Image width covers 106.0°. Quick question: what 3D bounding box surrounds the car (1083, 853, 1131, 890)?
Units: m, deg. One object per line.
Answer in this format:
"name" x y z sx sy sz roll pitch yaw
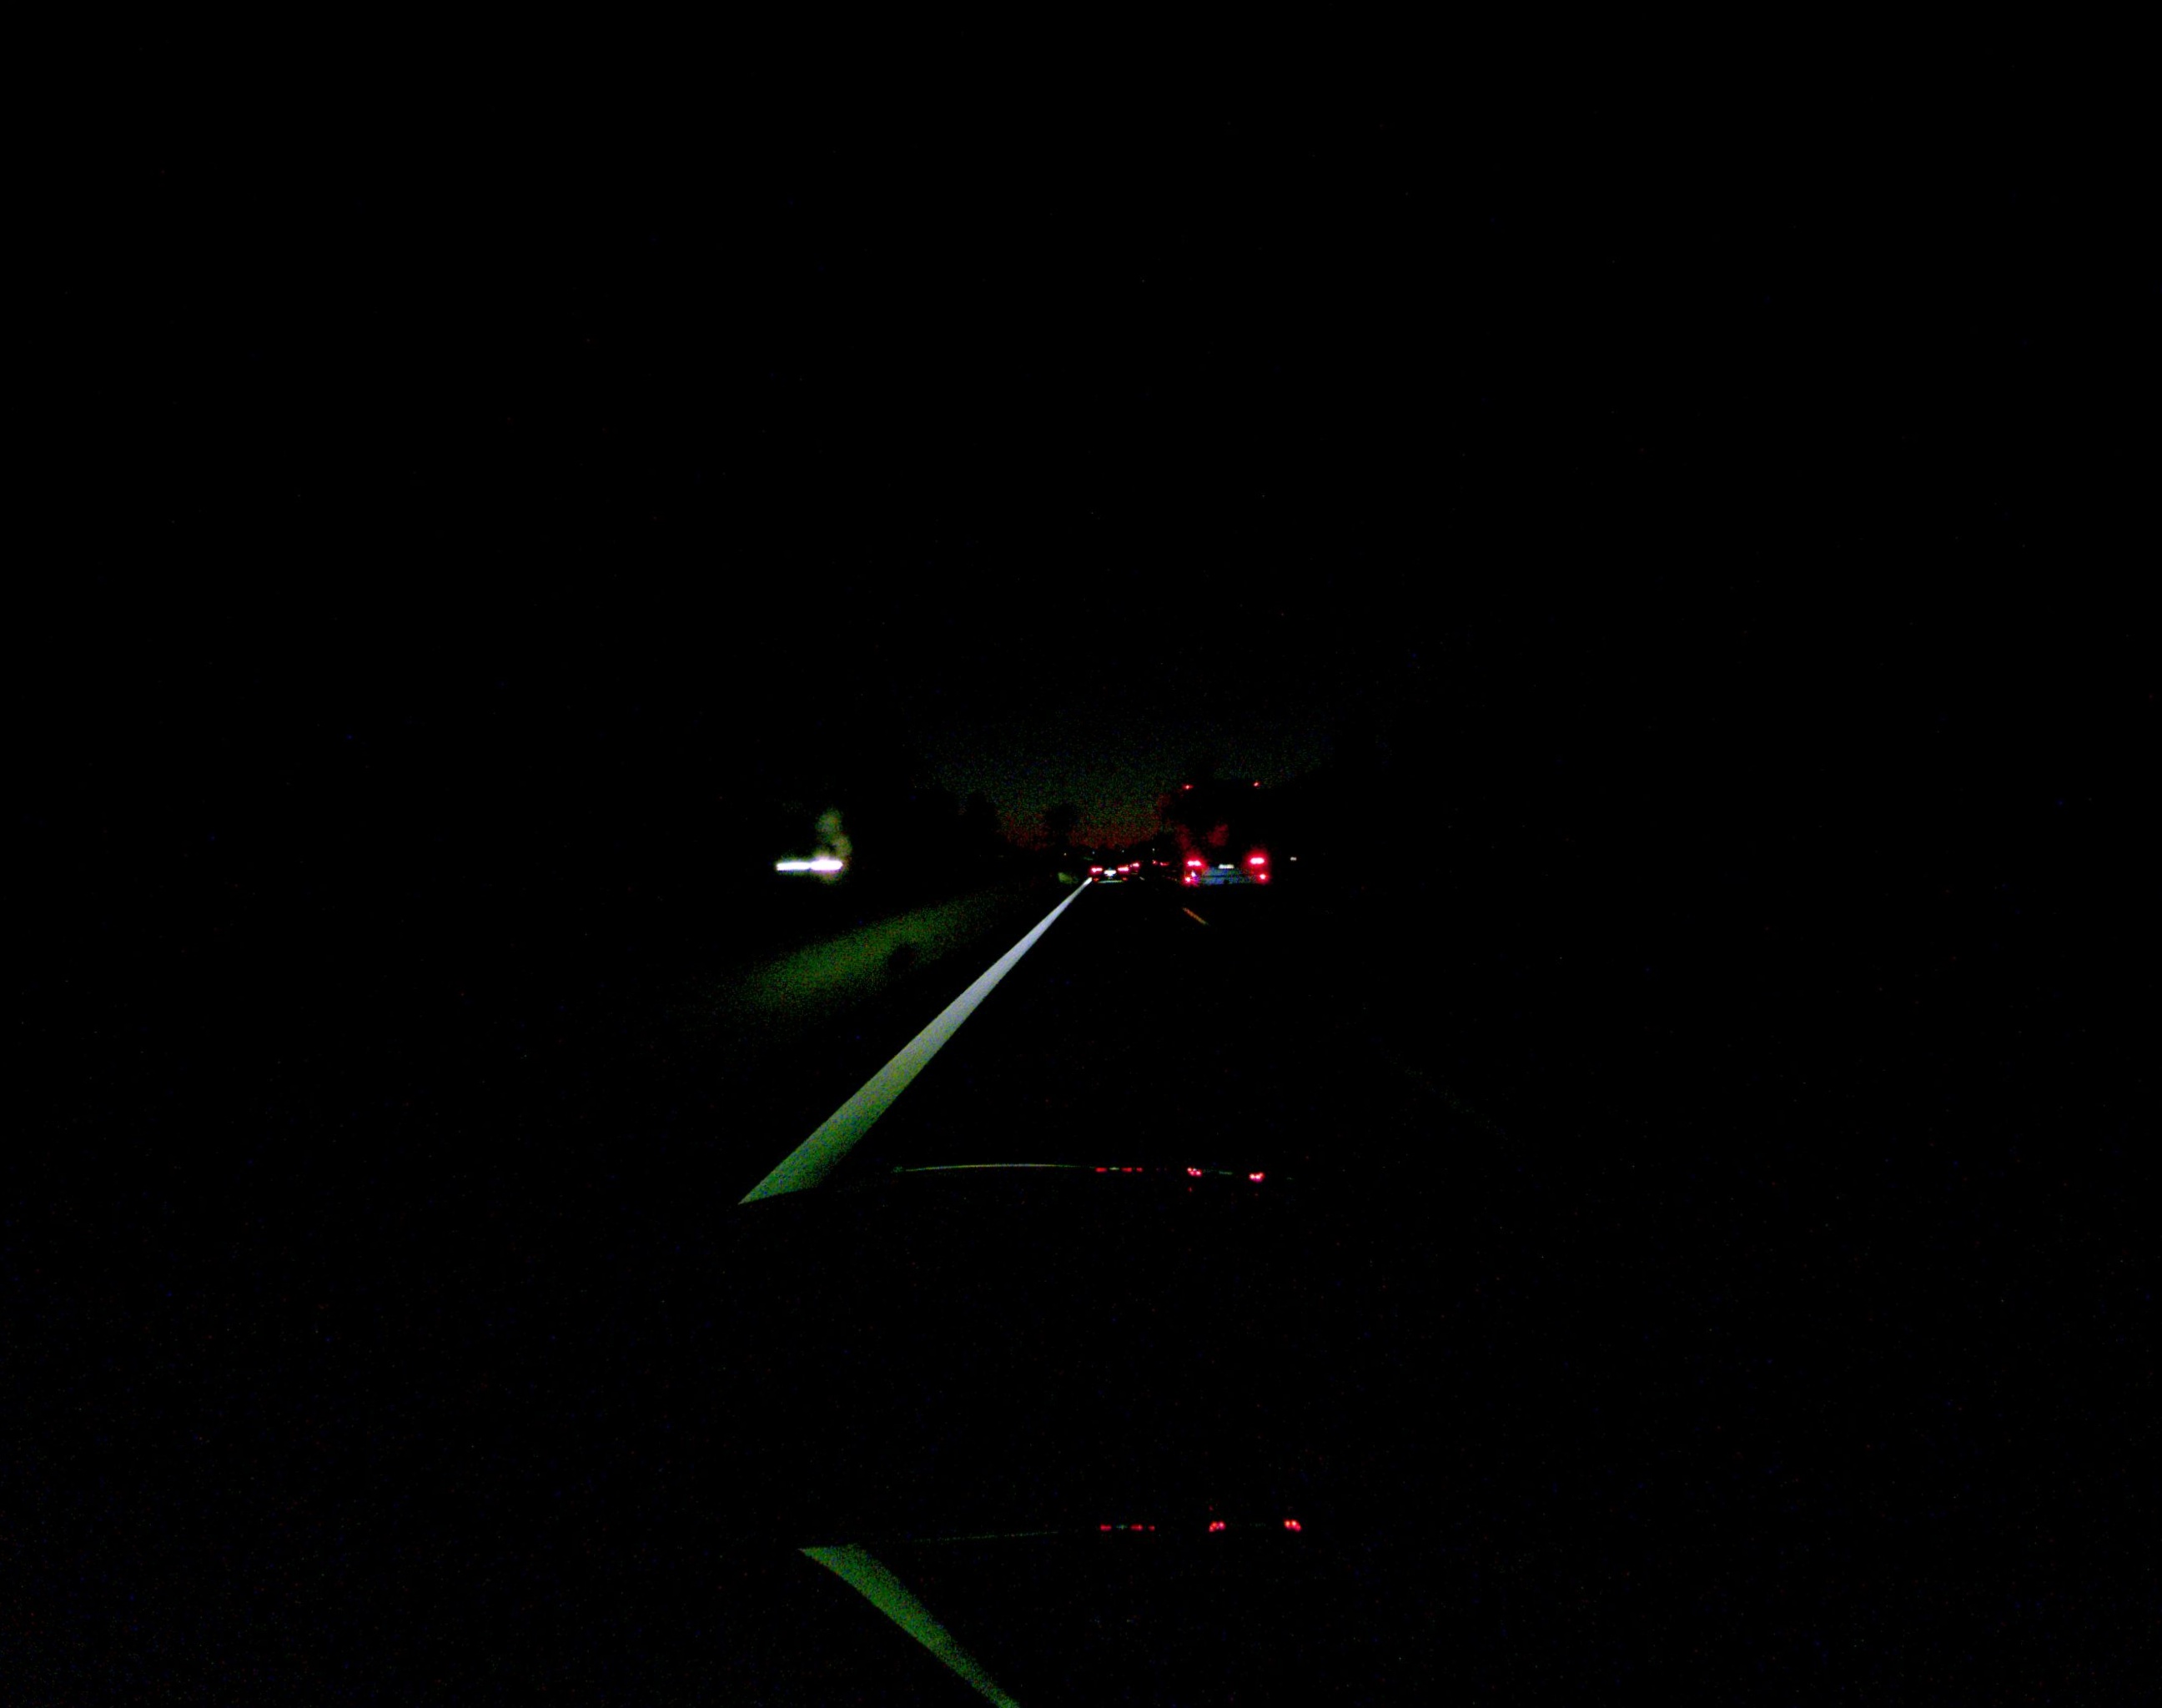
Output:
"car" 1.194 0.804 38.497 2.098 1.618 4.204 -1 -1 1

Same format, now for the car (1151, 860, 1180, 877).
"car" 6.752 1.194 65.473 1.905 1.275 4.000 -2 -1 0

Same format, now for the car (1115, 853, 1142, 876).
"car" 3.829 0.868 65.916 1.905 1.730 4.000 -2 -1 0

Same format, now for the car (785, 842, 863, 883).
"car" -12.183 0.368 38.987 1.986 1.776 5.171 1 0 1

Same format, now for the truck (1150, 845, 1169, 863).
"truck" 12.921 -0.017 134.974 2.593 2.875 7.487 -1 -1 1

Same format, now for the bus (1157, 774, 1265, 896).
"bus" 4.998 -0.520 34.348 2.642 3.994 14.707 -1 -1 2

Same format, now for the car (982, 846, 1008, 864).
"car" -8.580 0.092 81.204 1.986 1.776 4.749 1 0 1
